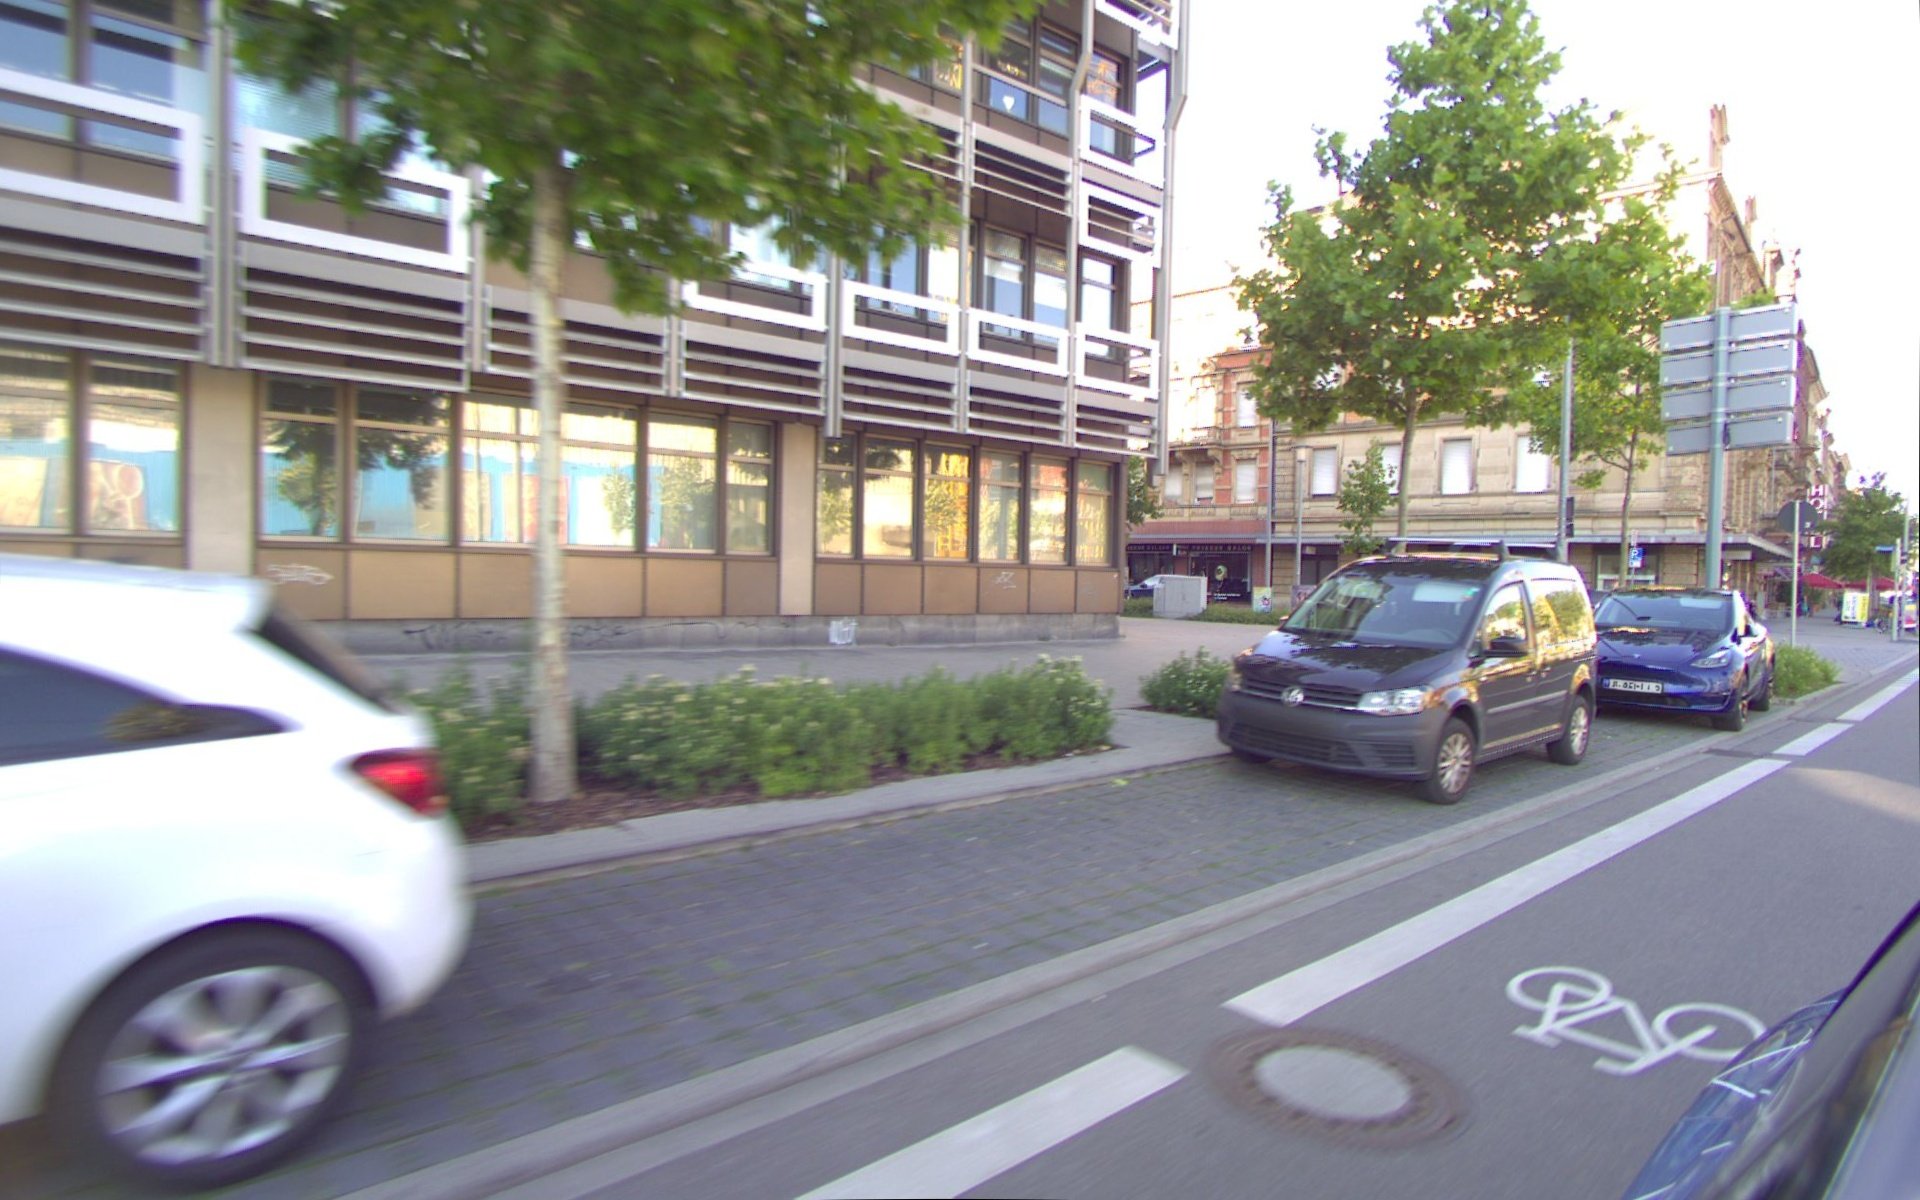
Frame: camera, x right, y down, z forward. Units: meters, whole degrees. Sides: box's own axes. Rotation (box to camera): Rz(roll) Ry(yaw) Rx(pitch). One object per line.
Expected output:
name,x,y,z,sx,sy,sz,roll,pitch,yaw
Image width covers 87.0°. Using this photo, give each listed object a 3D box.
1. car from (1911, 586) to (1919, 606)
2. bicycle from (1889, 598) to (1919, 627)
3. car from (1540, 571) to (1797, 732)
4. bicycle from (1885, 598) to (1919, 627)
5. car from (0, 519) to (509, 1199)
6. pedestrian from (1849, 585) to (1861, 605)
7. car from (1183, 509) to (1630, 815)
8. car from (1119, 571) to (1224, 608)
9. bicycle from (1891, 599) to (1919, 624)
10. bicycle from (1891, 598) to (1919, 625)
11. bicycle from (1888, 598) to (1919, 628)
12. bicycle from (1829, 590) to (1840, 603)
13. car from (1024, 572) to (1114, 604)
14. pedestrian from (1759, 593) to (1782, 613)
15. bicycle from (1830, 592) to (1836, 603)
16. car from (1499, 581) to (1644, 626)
car,79.022,-0.324,82.686,1.849,1.583,4.229,2,2,44
bicycle,39.466,0.543,41.607,0.498,1.117,1.758,0,4,-40
car,9.248,0.514,13.040,1.932,1.618,4.624,5,4,44
bicycle,40.223,0.534,42.635,0.498,1.117,1.726,0,4,-40
car,-3.341,0.543,2.061,4.127,1.508,1.668,0,3,-39
pedestrian,81.194,-0.481,91.804,0.748,1.776,1.055,3,2,44
car,3.916,0.337,8.494,4.318,1.942,1.738,0,3,-42
car,9.753,-0.525,46.809,4.433,1.644,1.851,2,2,40
bicycle,43.456,0.538,45.813,0.556,1.060,1.810,0,4,-40
bicycle,42.451,0.544,44.714,0.556,1.118,1.849,0,4,-40
bicycle,39.046,0.561,41.205,0.498,1.117,1.758,0,4,-40
bicycle,83.388,-0.353,96.447,0.704,1.235,2.040,1,1,43
car,5.413,-0.651,50.575,4.187,1.500,1.837,2,2,40
pedestrian,41.545,0.159,51.850,0.791,0.974,0.814,0,2,-44
bicycle,85.120,-0.287,98.645,0.343,1.046,2.040,1,1,43
car,21.924,0.069,36.354,4.255,1.467,1.837,2,2,40
